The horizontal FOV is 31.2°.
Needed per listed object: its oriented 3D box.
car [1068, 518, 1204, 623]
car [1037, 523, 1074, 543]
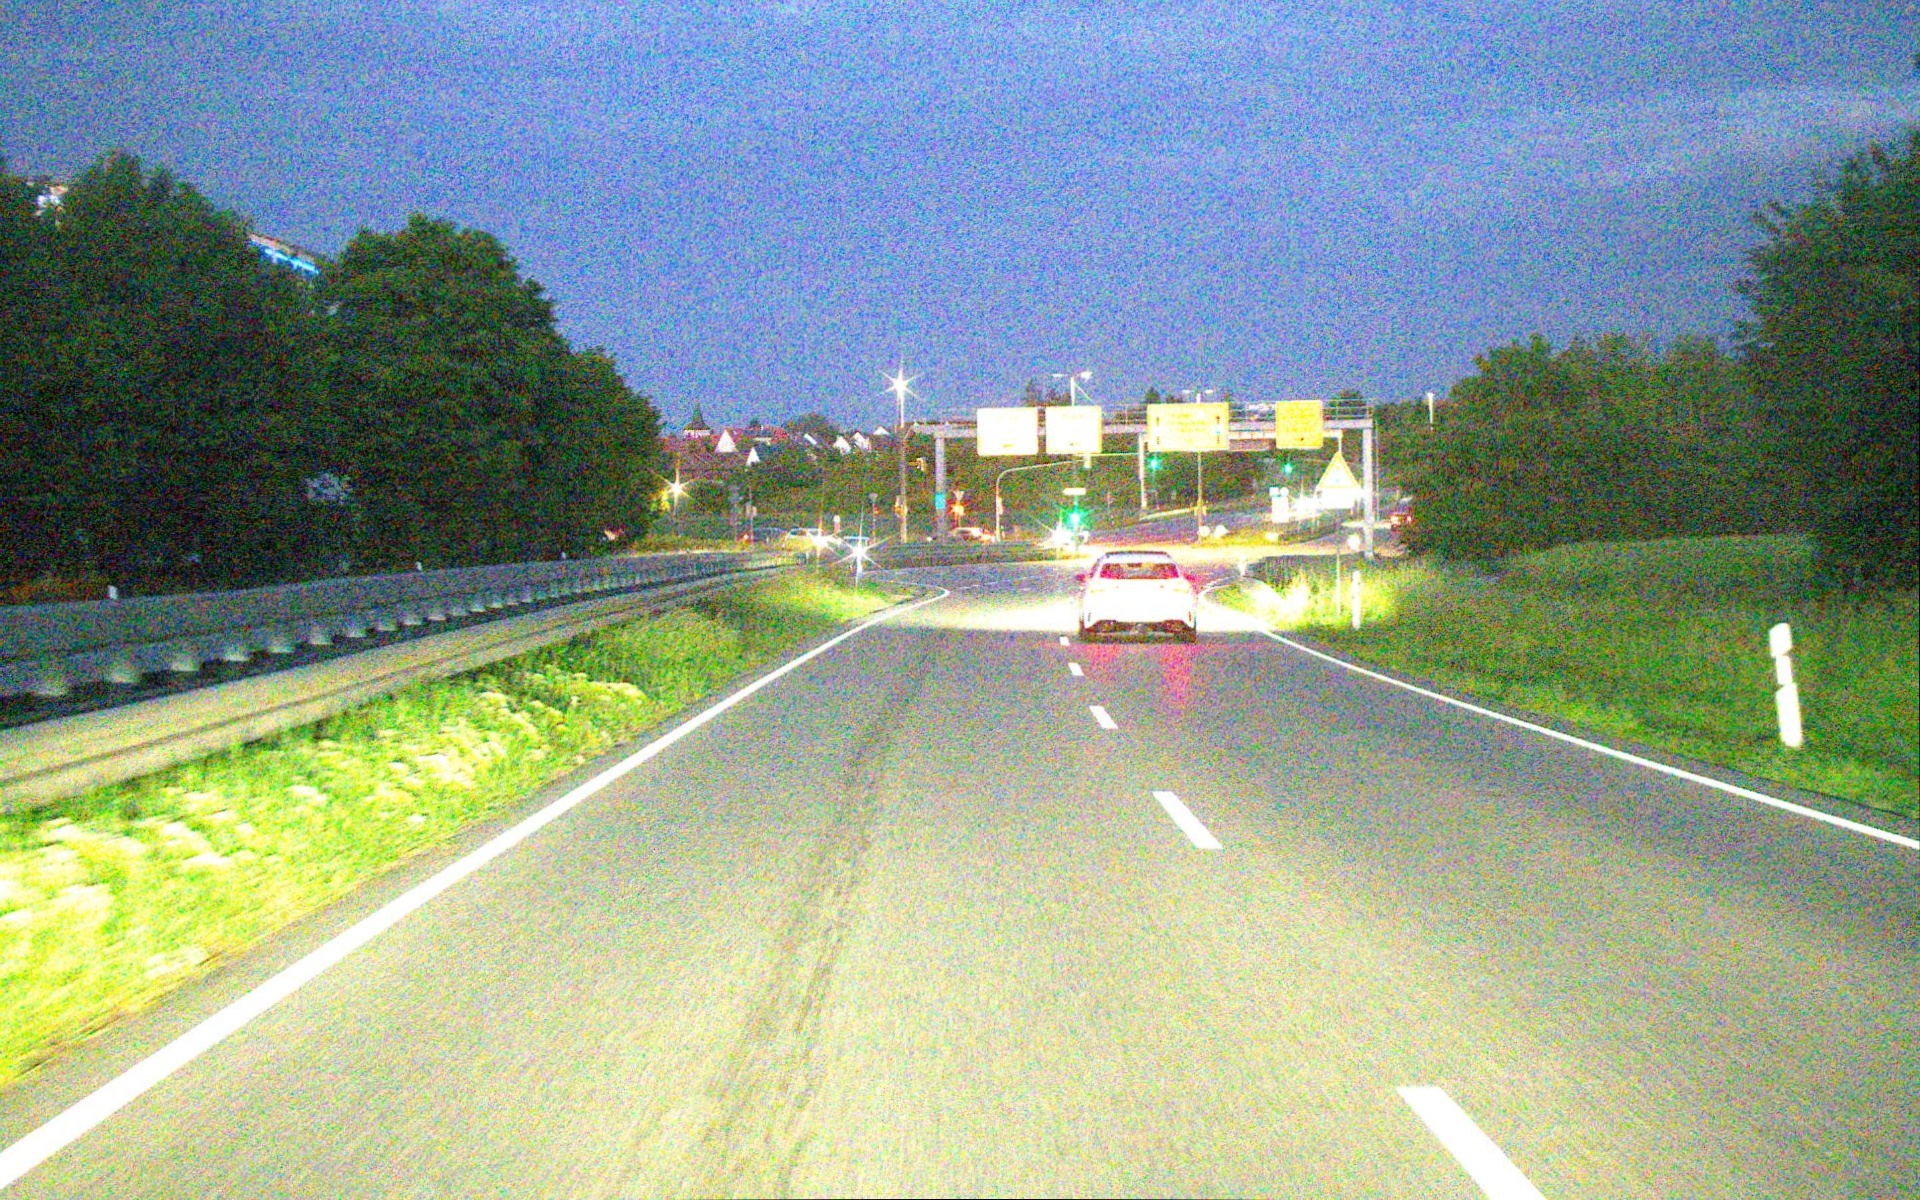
[{"bbox_3d":[2.780,-0.495,55.120,2.007,1.605,3.845,-1,1,1],"label":"car"},{"bbox_3d":[7.077,-4.948,254.578,1.994,1.420,4.530,1,2,11],"label":"car"}]
